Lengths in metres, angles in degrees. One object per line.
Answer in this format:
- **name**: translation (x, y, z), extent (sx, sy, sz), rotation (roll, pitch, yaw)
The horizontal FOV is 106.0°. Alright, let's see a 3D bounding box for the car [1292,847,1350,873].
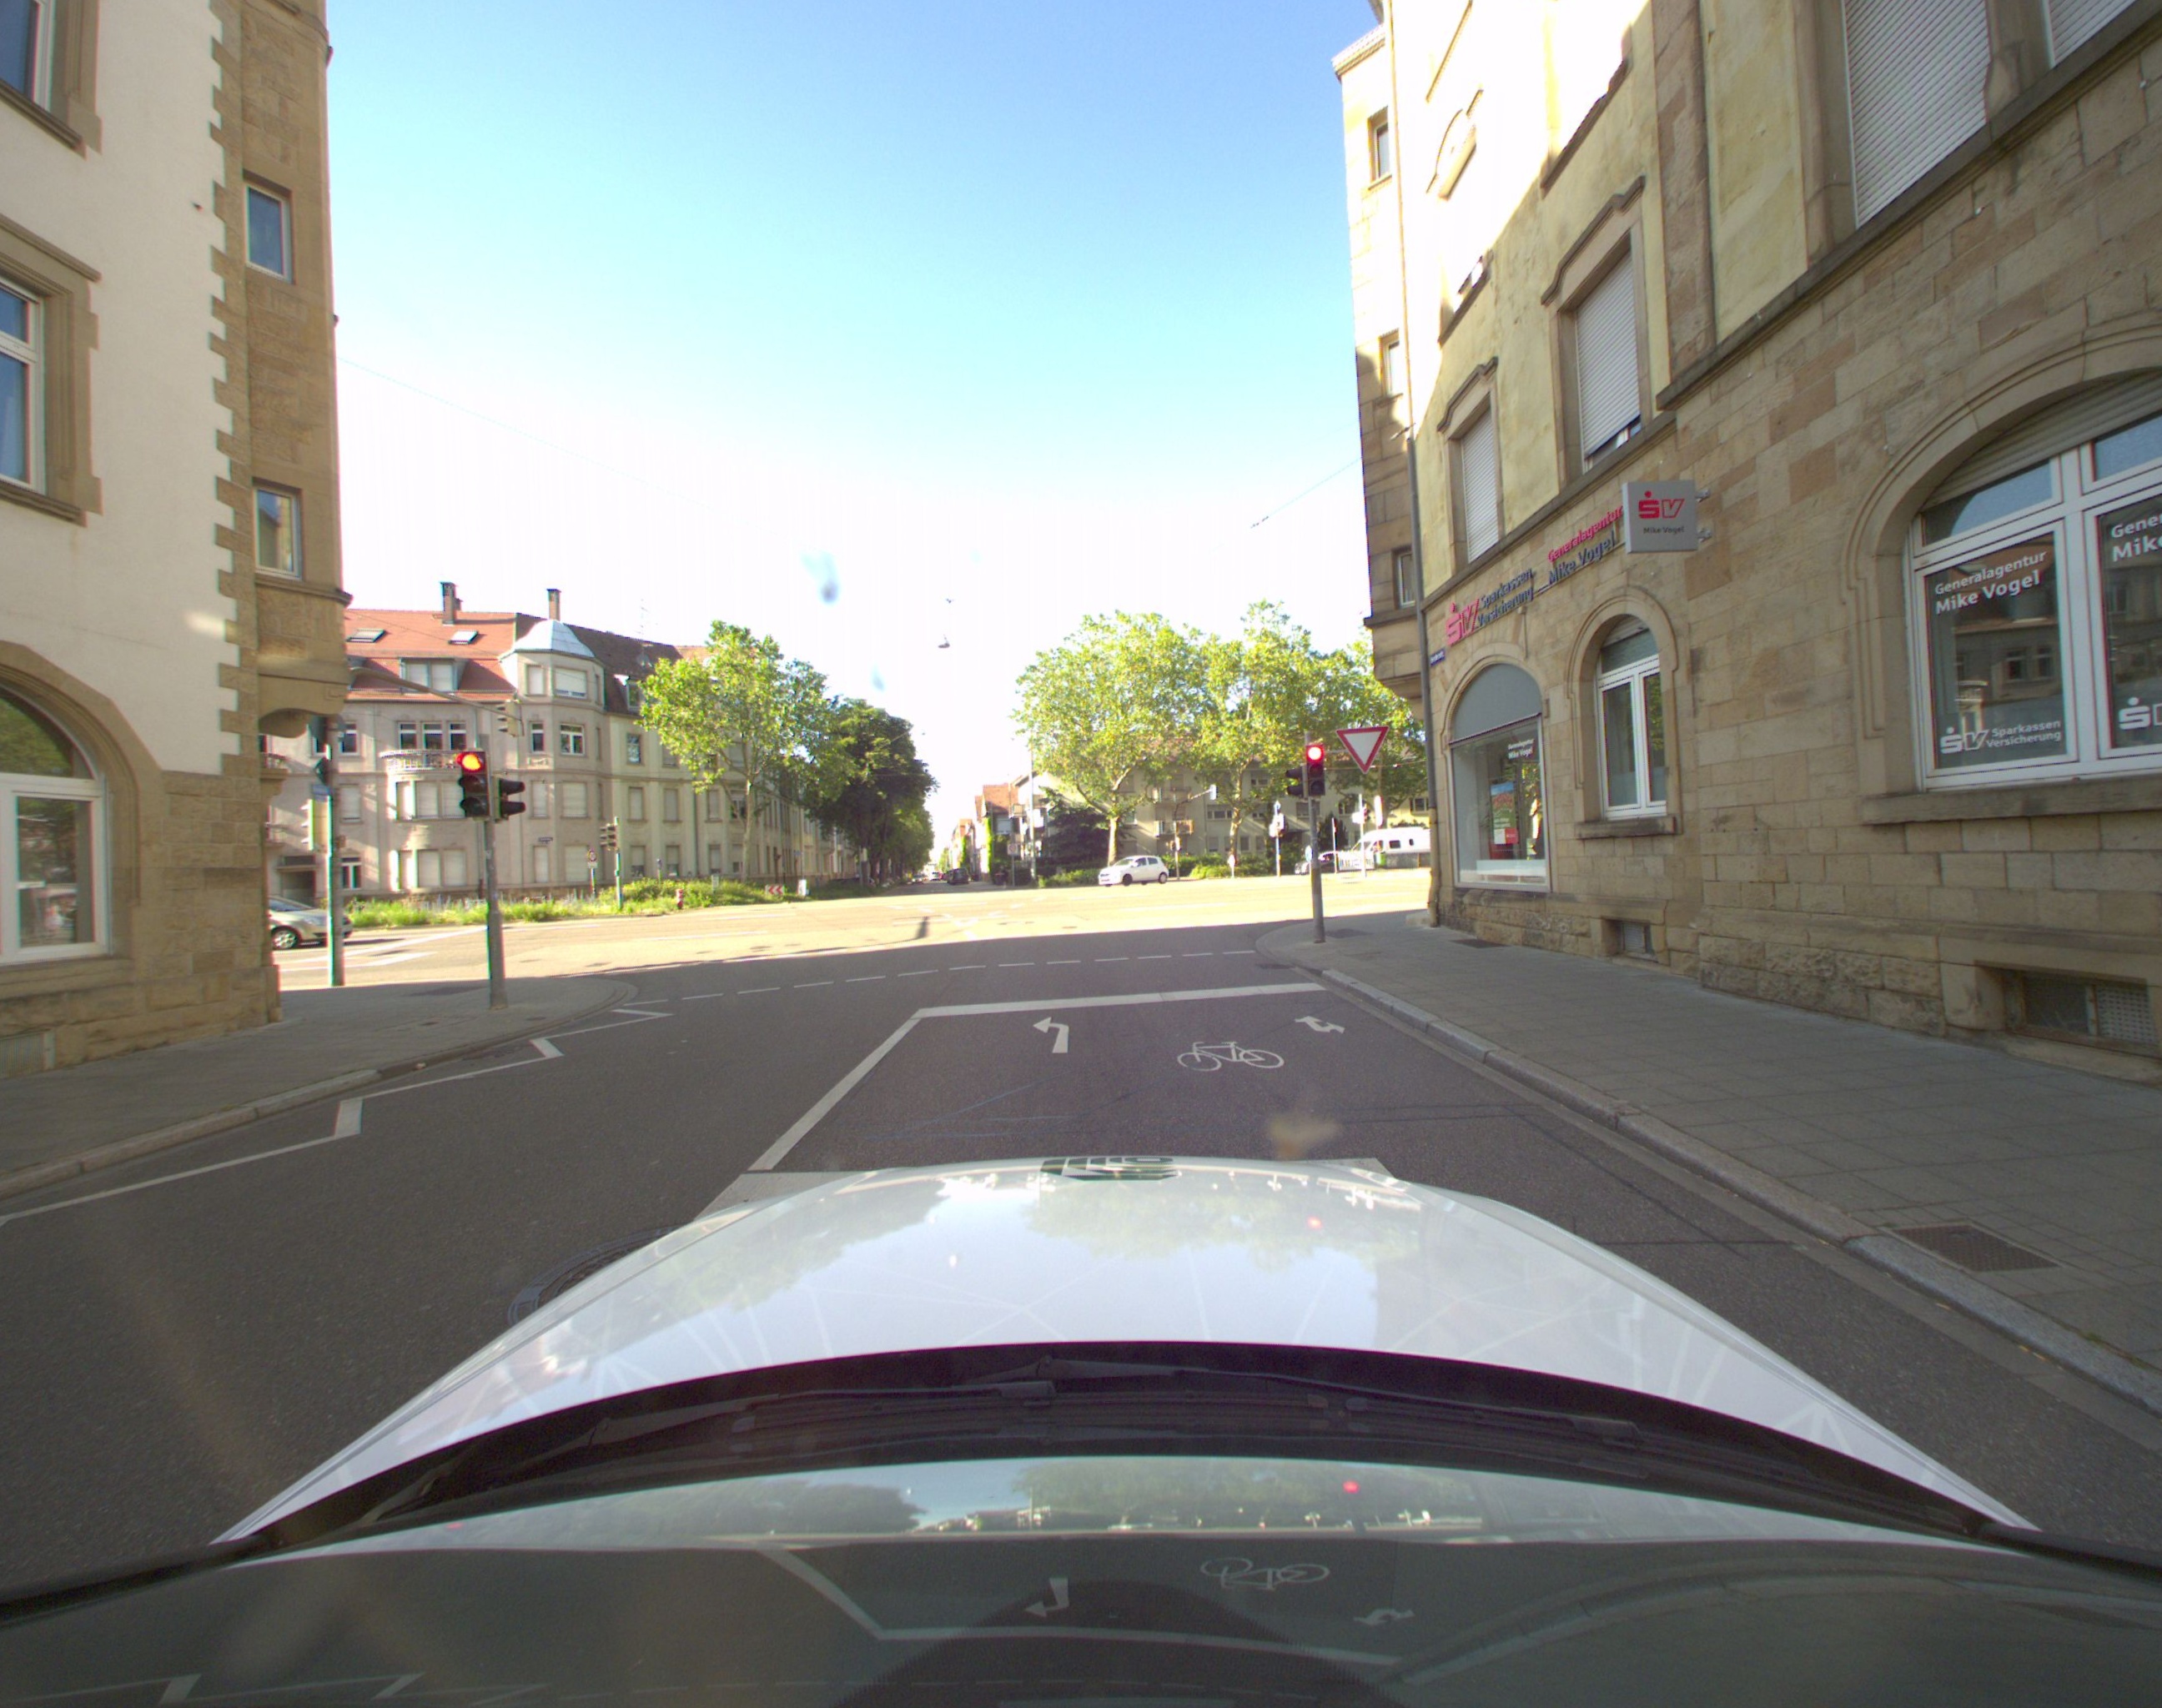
- **car**: translation (15.597, 0.385, 52.950), extent (3.391, 1.487, 1.515), rotation (-3, 0, -20)

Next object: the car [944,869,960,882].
- **car**: translation (-19.941, 3.339, 125.975), extent (1.996, 1.833, 3.980), rotation (-1, -1, -14)

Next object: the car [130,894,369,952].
- **car**: translation (-21.784, 1.774, 21.535), extent (3.995, 1.319, 1.812), rotation (0, -2, -16)

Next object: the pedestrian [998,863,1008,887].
- **pedestrian**: translation (-5.786, 1.588, 60.374), extent (0.631, 1.750, 0.658), rotation (-2, -1, -2)

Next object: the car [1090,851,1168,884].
- **car**: translation (2.474, 0.704, 41.886), extent (3.817, 1.472, 1.611), rotation (-3, 0, -37)

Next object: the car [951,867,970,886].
- **car**: translation (-14.010, 2.562, 95.041), extent (1.992, 2.013, 3.989), rotation (-3, 0, -8)

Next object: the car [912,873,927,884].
- **car**: translation (-23.987, 3.610, 120.960), extent (1.995, 1.445, 3.983), rotation (-3, 0, -12)

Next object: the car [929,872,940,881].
- **car**: translation (-25.241, 3.803, 140.330), extent (1.673, 1.483, 3.512), rotation (-1, -1, -8)

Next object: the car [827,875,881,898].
- **car**: translation (-17.898, 2.540, 64.298), extent (3.997, 1.486, 1.672), rotation (-3, 0, -17)

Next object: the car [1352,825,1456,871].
- **car**: translation (20.258, -0.390, 51.077), extent (6.054, 2.568, 1.989), rotation (-3, 0, -17)
